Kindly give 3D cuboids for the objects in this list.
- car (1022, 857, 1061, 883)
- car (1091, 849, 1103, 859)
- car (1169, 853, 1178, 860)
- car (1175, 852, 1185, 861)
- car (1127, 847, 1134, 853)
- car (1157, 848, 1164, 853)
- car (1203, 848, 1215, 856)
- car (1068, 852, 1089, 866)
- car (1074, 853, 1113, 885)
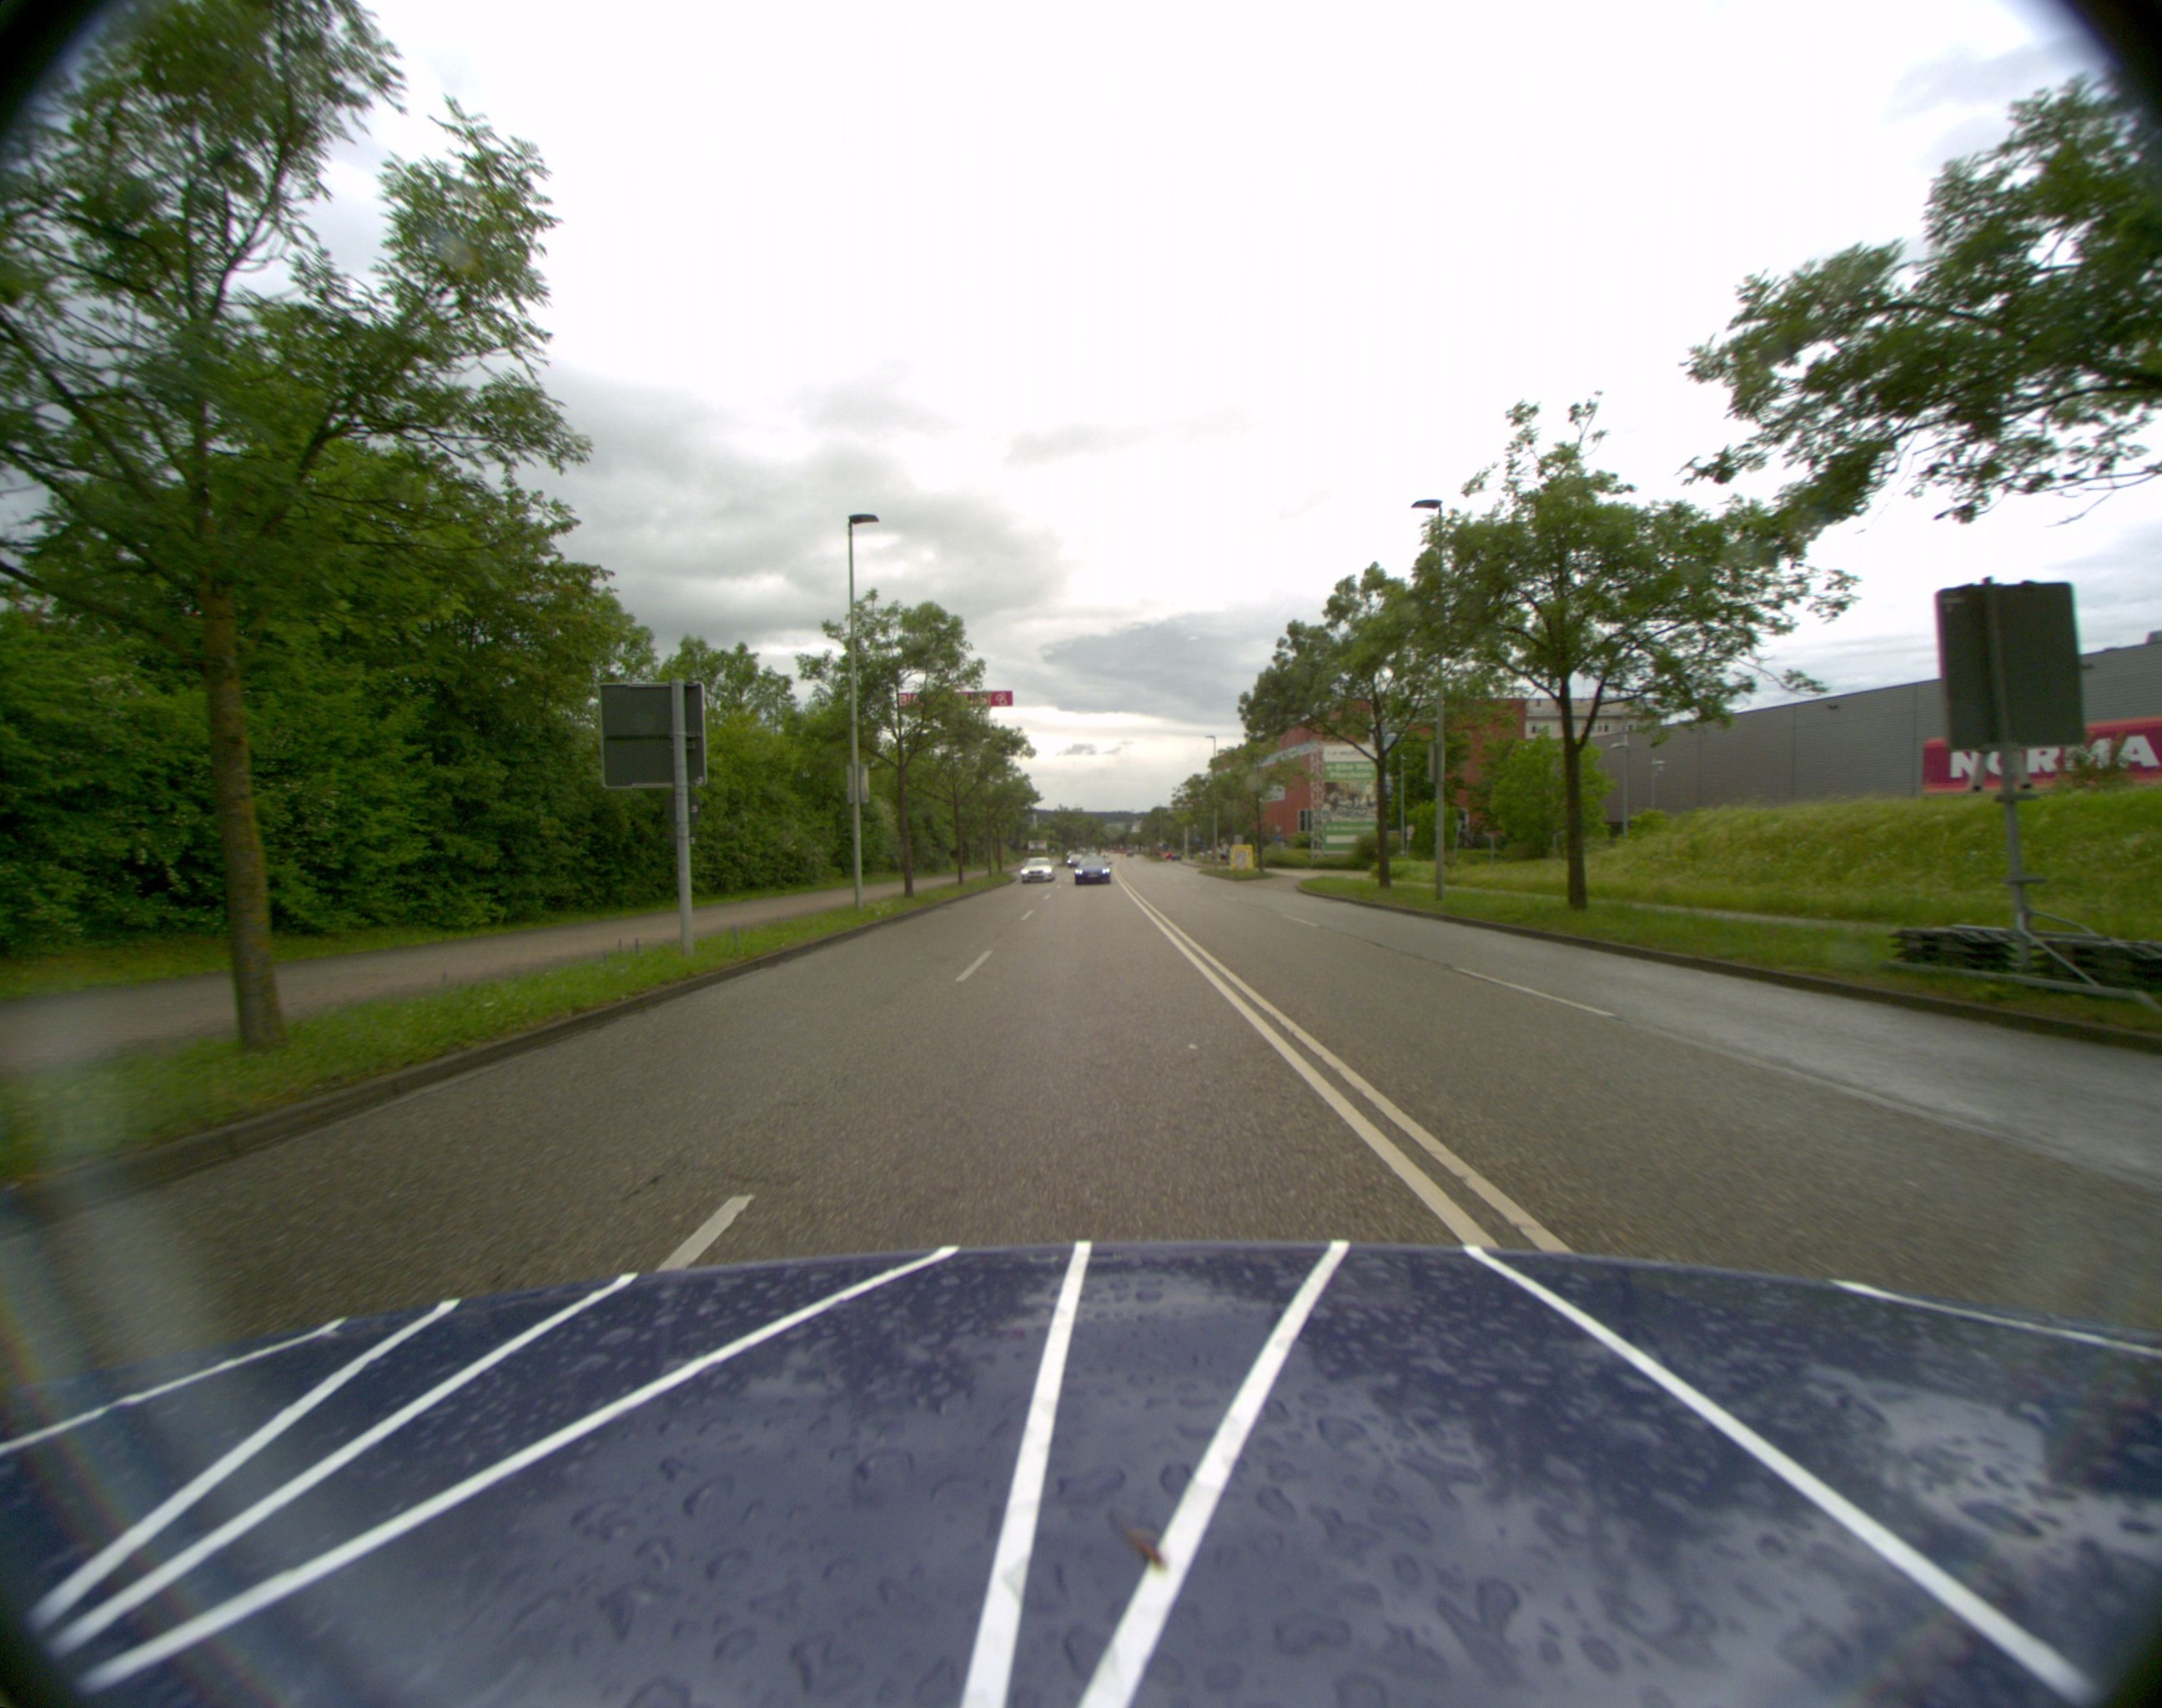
[{"bbox_3d":[-2.391,0.946,46.843,1.863,1.473,4.001,-2,0,5],"label":"car"},{"bbox_3d":[2.767,-0.060,131.182,1.853,1.565,3.999,-2,1,0],"label":"car"},{"bbox_3d":[20.327,0.499,167.142,1.679,1.497,4.218,0,0,5],"label":"car"},{"bbox_3d":[17.820,0.420,136.917,1.740,1.445,4.002,1,0,6],"label":"car"},{"bbox_3d":[13.072,-1.104,200.197,1.863,1.568,4.321,1,0,3],"label":"car"},{"bbox_3d":[24.994,-1.070,239.302,1.831,1.608,4.002,-2,0,9],"label":"car"},{"bbox_3d":[28.950,-0.443,172.017,1.833,1.608,4.437,-1,0,-4],"label":"car"},{"bbox_3d":[-0.243,0.563,90.003,2.113,1.610,4.841,-2,0,3],"label":"car"},{"bbox_3d":[0.695,0.748,39.283,1.827,1.473,4.841,-2,0,3],"label":"car"}]
